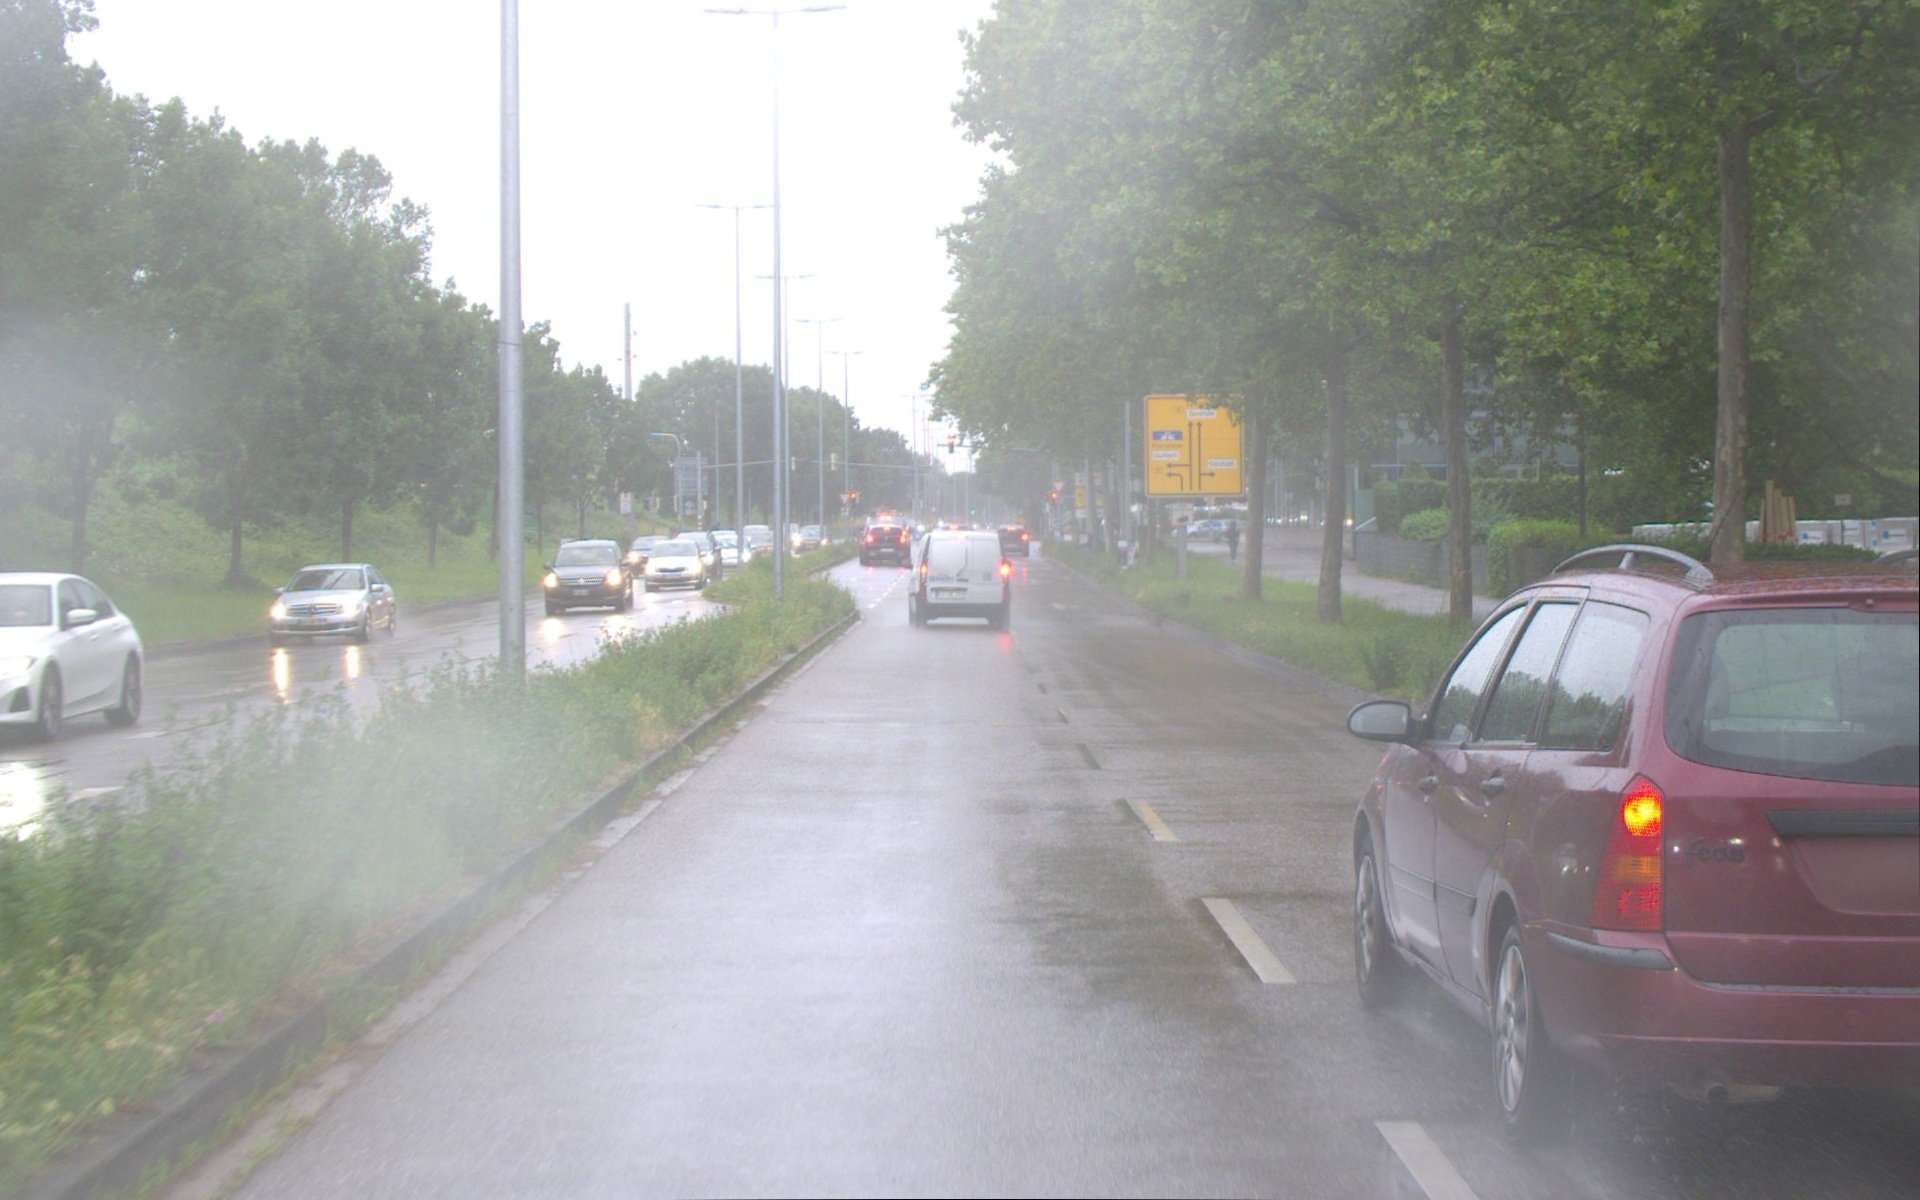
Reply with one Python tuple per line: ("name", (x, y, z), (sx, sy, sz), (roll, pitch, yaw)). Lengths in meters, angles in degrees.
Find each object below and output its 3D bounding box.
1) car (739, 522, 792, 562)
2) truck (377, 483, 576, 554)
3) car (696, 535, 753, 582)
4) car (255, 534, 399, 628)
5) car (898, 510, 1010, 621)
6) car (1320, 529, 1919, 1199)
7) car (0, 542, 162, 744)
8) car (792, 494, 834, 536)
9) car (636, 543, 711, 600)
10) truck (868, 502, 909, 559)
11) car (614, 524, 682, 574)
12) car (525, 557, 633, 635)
("car", (-8.447, -2.540, 149.548), (1.908, 1.569, 4.709), (-3, 2, 0))
("truck", (-24.961, -4.171, 177.794), (10.110, 3.440, 2.658), (0, 0, -36))
("car", (-8.498, -1.504, 123.741), (1.908, 1.569, 4.710), (-2, 2, -5))
("car", (-11.600, -0.378, 63.289), (1.898, 1.607, 4.478), (-1, 1, -1))
("car", (-0.143, -0.631, 64.812), (1.993, 2.007, 4.000), (0, 0, -1))
("car", (2.192, 0.581, 9.689), (1.839, 1.531, 4.112), (1, 1, -1))
("car", (-8.549, 0.347, 30.340), (1.898, 1.607, 4.712), (-3, 1, -1))
("car", (-7.738, -4.519, 181.224), (1.824, 1.569, 4.362), (7, 7, 0))
("car", (-8.463, -0.867, 101.795), (1.898, 1.607, 4.112), (-1, 1, -1))
("truck", (-3.153, -3.066, 151.674), (1.756, 2.458, 4.000), (0, 1, -1))
("car", (-11.403, -1.891, 125.777), (1.993, 1.682, 4.709), (-2, 2, 0))
("car", (-8.732, -0.111, 79.110), (1.898, 1.607, 4.112), (-3, 1, 1))
